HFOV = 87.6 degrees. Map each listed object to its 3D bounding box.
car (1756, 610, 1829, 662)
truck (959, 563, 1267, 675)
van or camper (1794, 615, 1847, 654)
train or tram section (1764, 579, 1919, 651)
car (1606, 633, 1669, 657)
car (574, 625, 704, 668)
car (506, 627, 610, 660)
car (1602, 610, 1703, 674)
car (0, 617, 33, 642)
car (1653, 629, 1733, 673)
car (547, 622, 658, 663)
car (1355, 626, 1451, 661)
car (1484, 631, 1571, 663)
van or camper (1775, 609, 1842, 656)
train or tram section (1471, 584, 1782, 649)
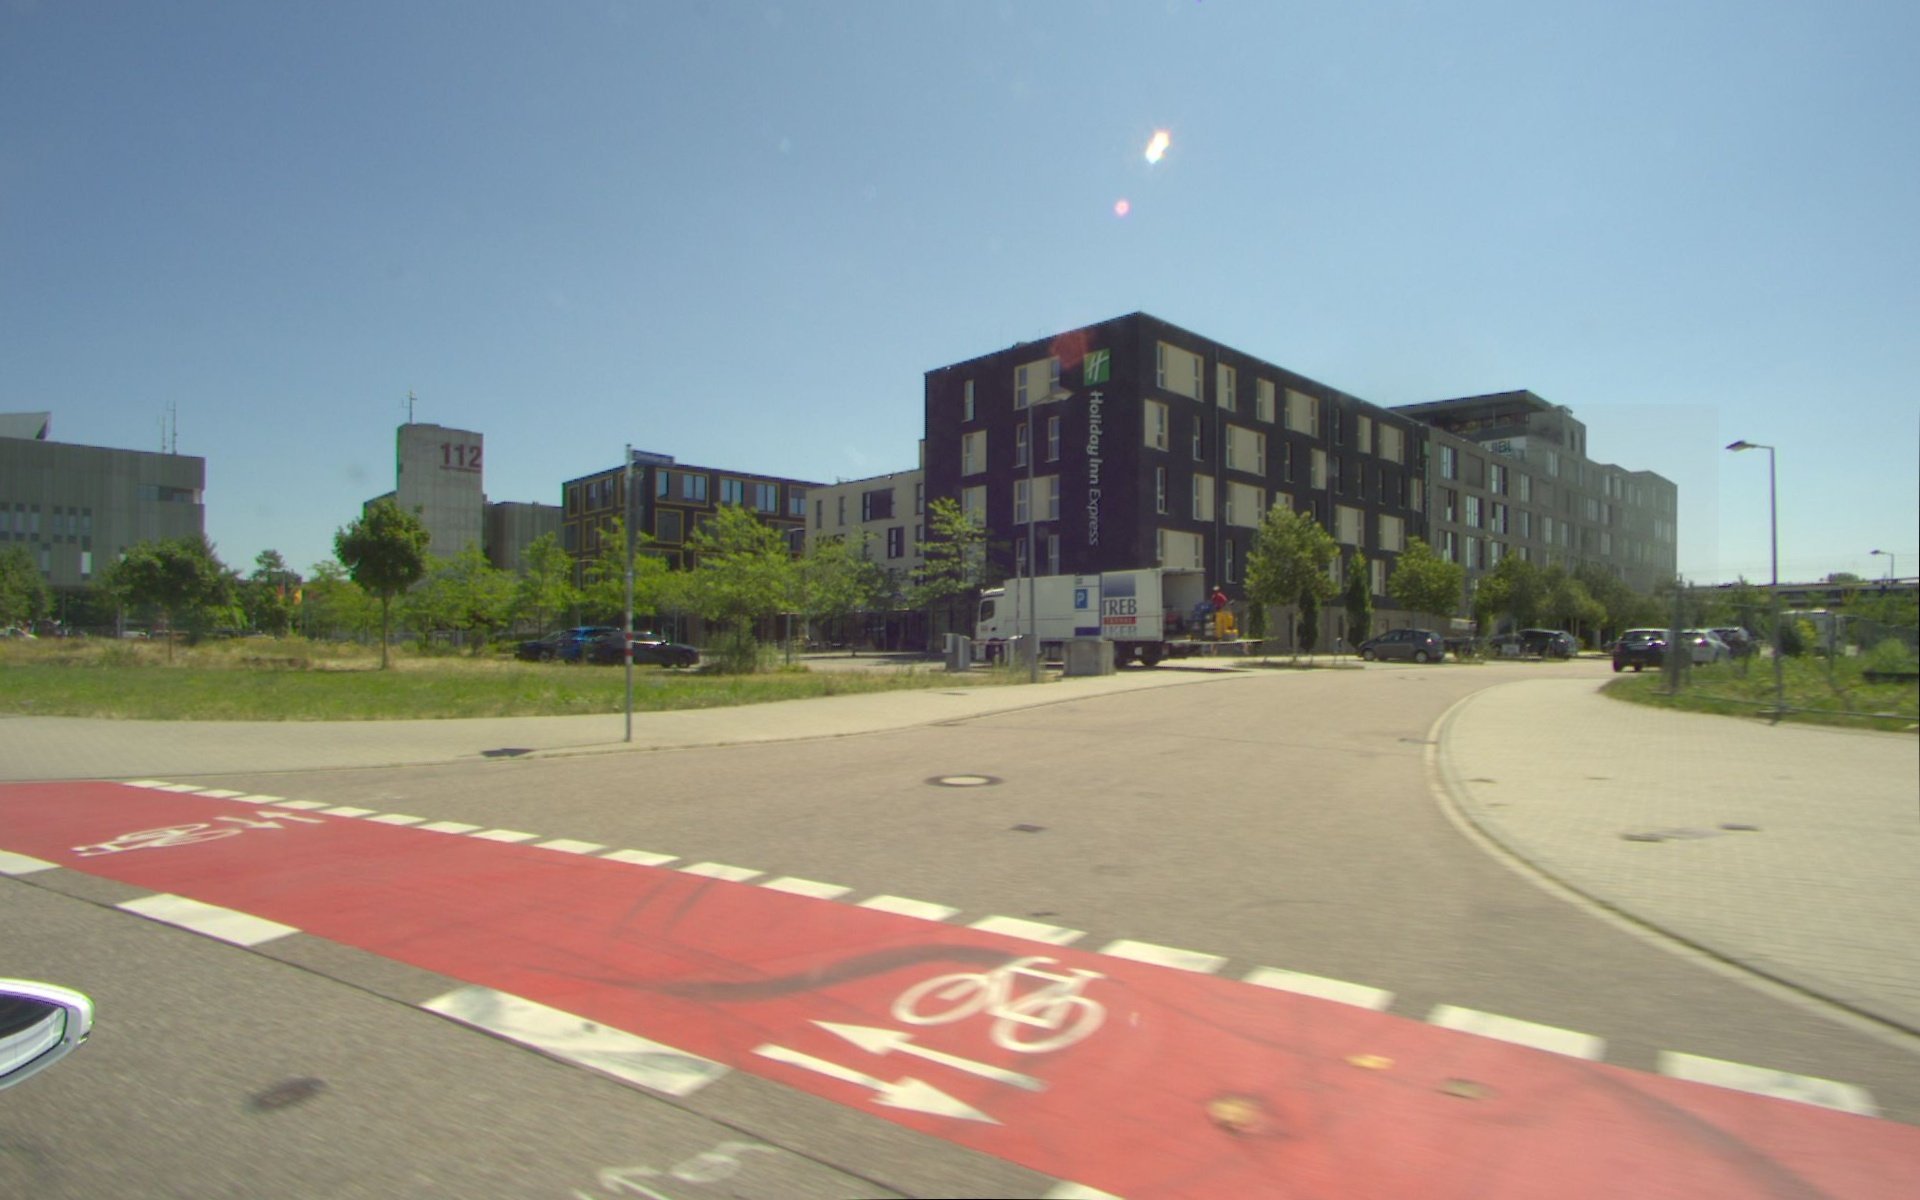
[{"bbox_3d":[34.994,1.576,42.073,3.880,2.038,1.863,4,-5,-43],"label":"car"},{"bbox_3d":[5.087,0.740,36.731,2.987,3.507,12.031,-1,-1,-42],"label":"truck"},{"bbox_3d":[59.046,2.360,68.689,5.387,2.567,2.380,2,-2,-45],"label":"van or camper"},{"bbox_3d":[140.608,2.114,138.880,9.490,10.051,44.442,2,-2,-38],"label":"train or tram section"},{"bbox_3d":[49.594,3.286,73.315,3.620,1.721,1.604,-1,-2,45],"label":"car"},{"bbox_3d":[-12.521,1.789,39.228,2.011,1.582,4.467,-1,-2,45],"label":"car"},{"bbox_3d":[-18.655,2.019,46.575,1.939,1.463,4.095,-1,-2,40],"label":"car"},{"bbox_3d":[23.576,1.410,34.046,3.874,2.039,1.865,2,-2,-40],"label":"car"},{"bbox_3d":[-91.538,2.812,96.064,3.817,2.323,1.726,2,-2,-44],"label":"car"},{"bbox_3d":[27.585,1.885,37.636,4.005,1.577,1.732,2,-2,-44],"label":"car"},{"bbox_3d":[-15.293,1.821,42.956,4.033,1.673,1.935,2,-3,-45],"label":"car"},{"bbox_3d":[19.597,1.902,44.359,1.679,1.471,3.546,2,-2,-44],"label":"car"},{"bbox_3d":[31.778,2.603,56.089,3.976,1.721,1.660,-1,-2,45],"label":"car"},{"bbox_3d":[53.359,2.028,62.931,6.364,2.811,2.541,2,-2,-44],"label":"van or camper"},{"bbox_3d":[113.330,3.127,173.681,9.490,10.051,44.442,2,-2,-38],"label":"train or tram section"}]
